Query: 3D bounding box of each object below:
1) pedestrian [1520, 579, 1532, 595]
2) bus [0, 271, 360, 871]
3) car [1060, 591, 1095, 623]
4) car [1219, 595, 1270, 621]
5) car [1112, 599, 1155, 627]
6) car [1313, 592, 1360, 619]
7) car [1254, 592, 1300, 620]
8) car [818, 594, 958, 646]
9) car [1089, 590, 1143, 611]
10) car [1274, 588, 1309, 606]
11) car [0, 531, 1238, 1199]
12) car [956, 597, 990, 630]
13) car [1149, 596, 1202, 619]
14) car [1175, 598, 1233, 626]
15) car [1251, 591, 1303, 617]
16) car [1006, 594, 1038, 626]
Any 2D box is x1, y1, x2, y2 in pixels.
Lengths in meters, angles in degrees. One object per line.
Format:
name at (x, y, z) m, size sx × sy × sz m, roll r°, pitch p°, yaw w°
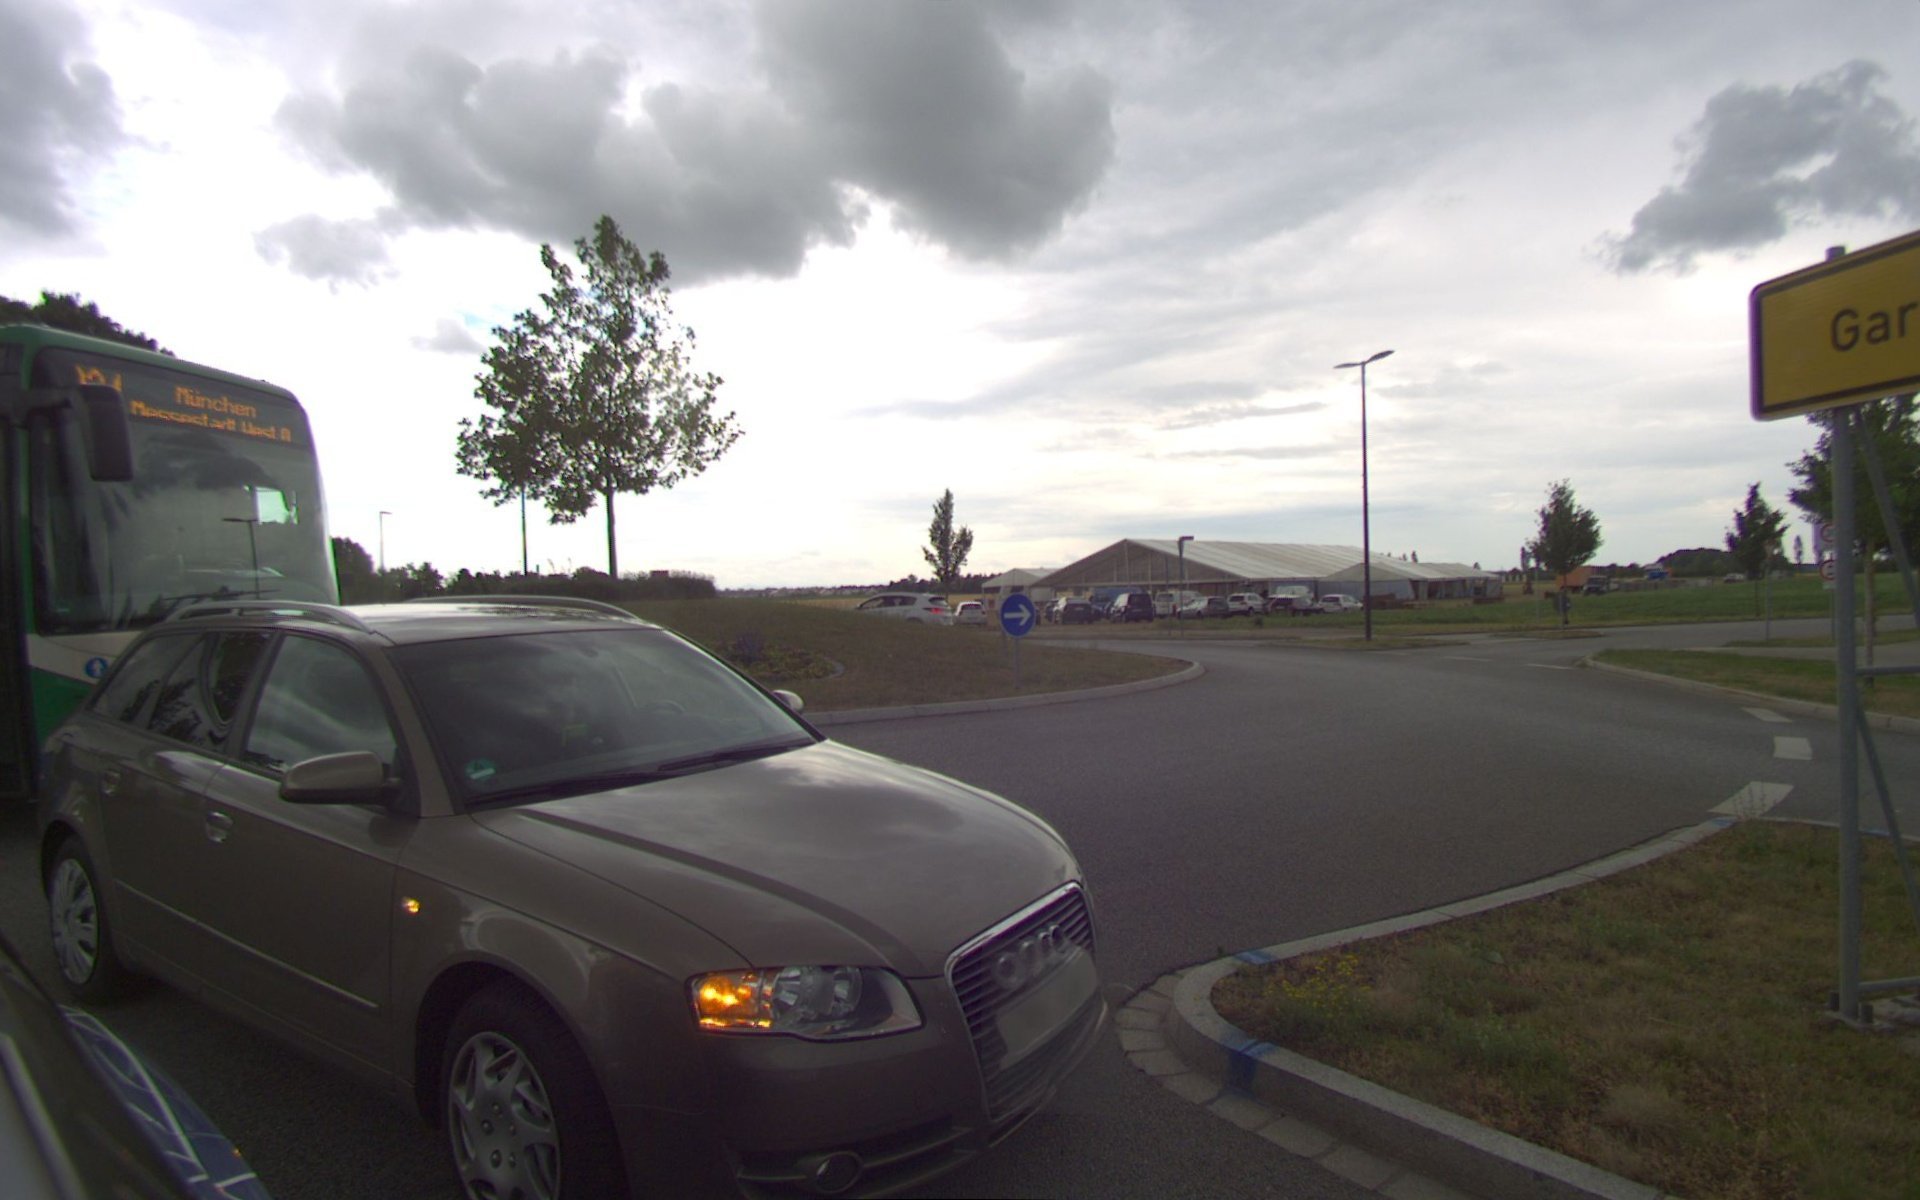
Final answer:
pedestrian at (73.007, -1.674, 130.458) m, size 1.045 × 2.029 × 1.052 m, roll -2°, pitch 1°, yaw -44°
bus at (-8.049, -0.147, 6.962) m, size 6.461 × 3.283 × 2.523 m, roll 0°, pitch 0°, yaw 3°
car at (6.691, 0.346, 57.868) m, size 1.694 × 1.564 × 3.996 m, roll -4°, pitch 2°, yaw 4°
car at (19.398, 0.546, 68.905) m, size 1.835 × 1.618 × 3.776 m, roll -1°, pitch 0°, yaw 42°
car at (9.874, 0.702, 57.819) m, size 1.926 × 1.453 × 3.996 m, roll -1°, pitch 0°, yaw 3°
car at (24.245, 0.347, 65.160) m, size 1.729 × 1.565 × 3.950 m, roll -1°, pitch 0°, yaw 37°
car at (19.040, 0.342, 60.906) m, size 1.613 × 1.618 × 3.875 m, roll -2°, pitch 0°, yaw 1°
car at (-2.415, 0.667, 33.818) m, size 4.428 × 1.638 × 1.698 m, roll -1°, pitch 1°, yaw 27°
car at (11.976, 0.021, 77.748) m, size 3.937 × 1.453 × 1.955 m, roll -2°, pitch 0°, yaw -40°
car at (32.265, -0.331, 98.484) m, size 1.835 × 1.618 × 3.776 m, roll -1°, pitch 0°, yaw 42°
car at (-1.557, 0.666, 3.493) m, size 4.527 × 1.476 × 1.763 m, roll -1°, pitch 0°, yaw 33°
car at (0.770, 0.739, 57.705) m, size 1.694 × 1.564 × 3.996 m, roll -4°, pitch 2°, yaw 4°
car at (15.157, 0.507, 70.946) m, size 1.951 × 1.453 × 3.945 m, roll -1°, pitch 0°, yaw 41°
car at (14.724, 0.707, 61.304) m, size 1.705 × 1.618 × 3.887 m, roll -2°, pitch 0°, yaw -15°
car at (21.038, 0.229, 67.125) m, size 1.835 × 1.618 × 3.776 m, roll -1°, pitch 0°, yaw 42°
car at (3.543, 0.555, 57.781) m, size 1.694 × 1.564 × 3.996 m, roll -4°, pitch 2°, yaw 4°
